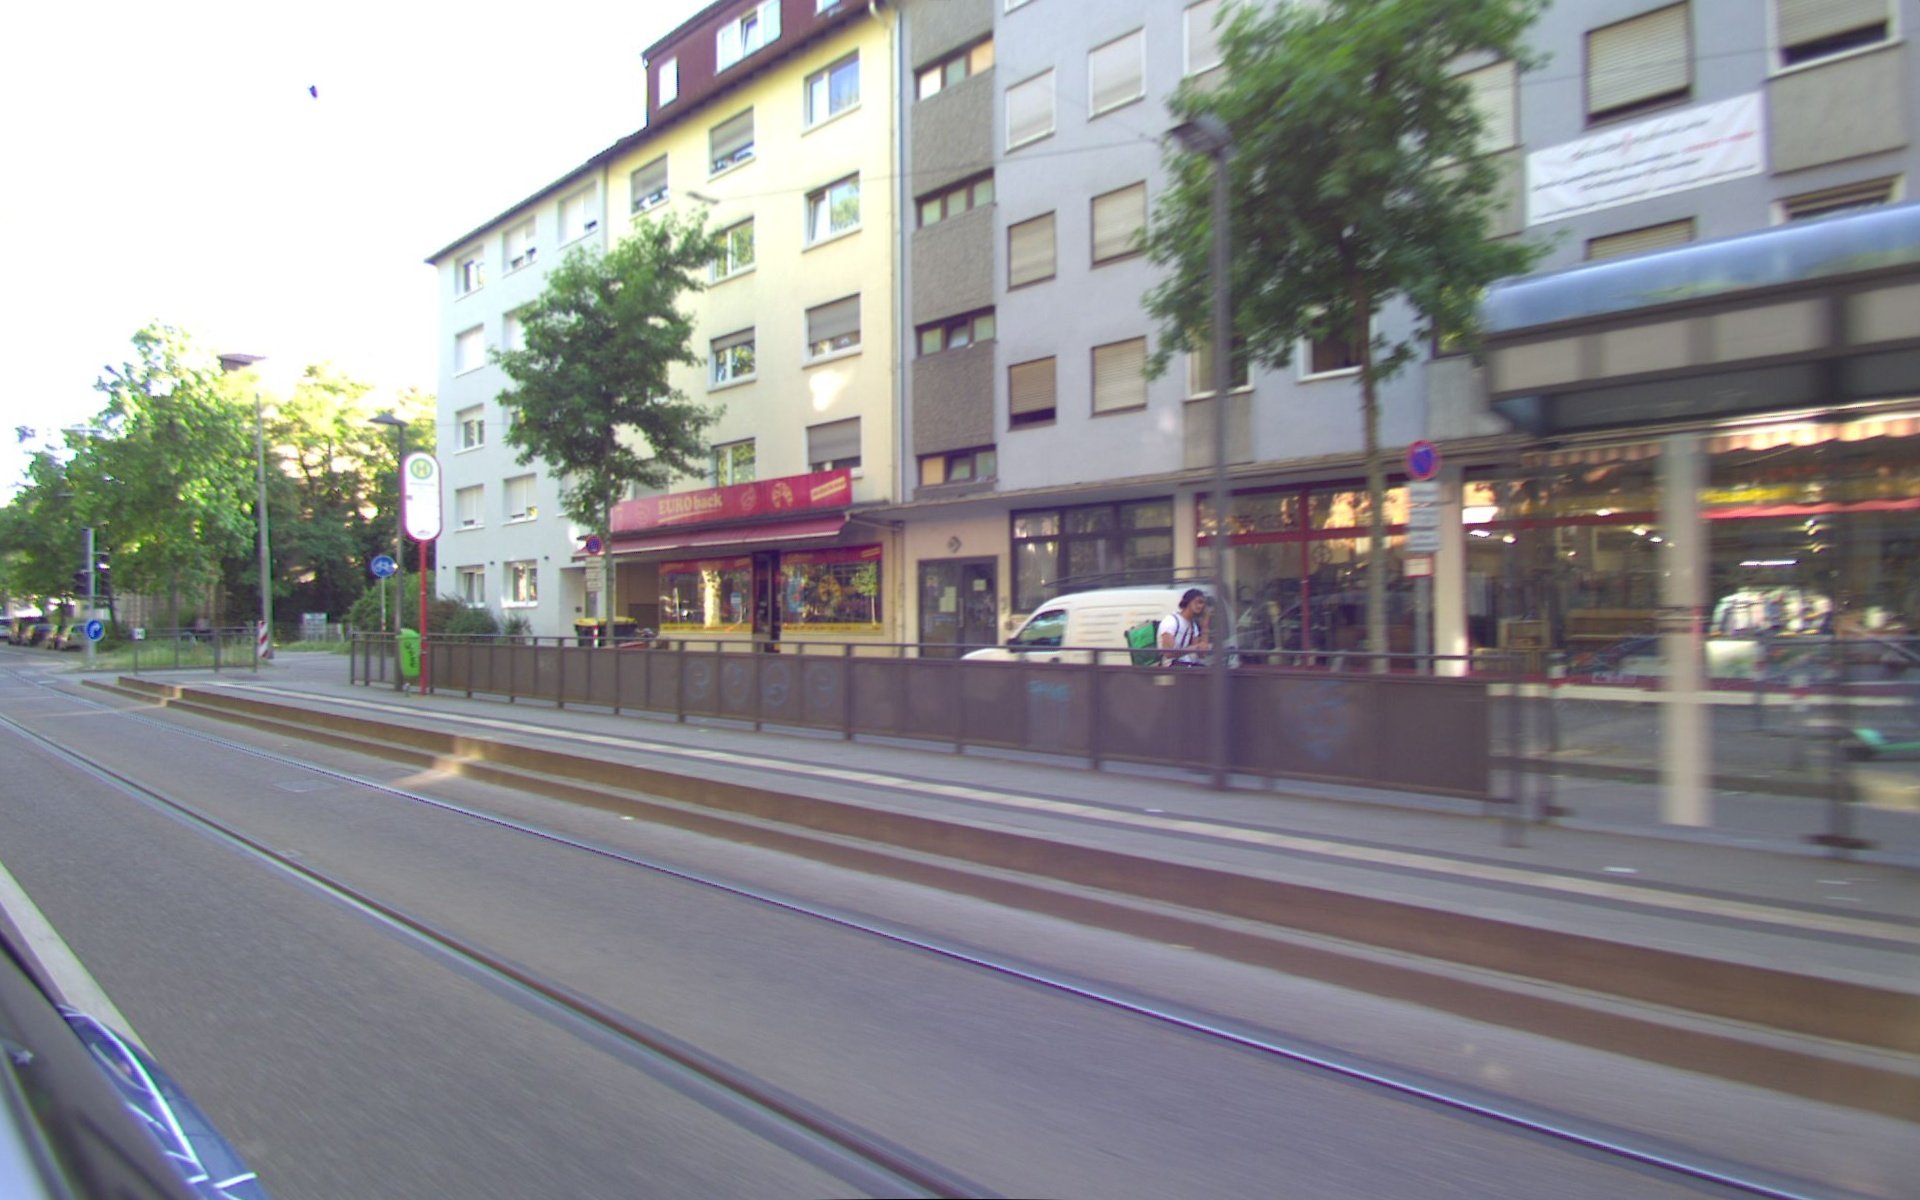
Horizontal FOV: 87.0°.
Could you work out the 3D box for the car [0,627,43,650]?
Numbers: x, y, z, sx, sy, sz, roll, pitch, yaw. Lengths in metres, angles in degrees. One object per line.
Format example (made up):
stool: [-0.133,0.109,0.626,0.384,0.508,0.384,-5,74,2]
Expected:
car: [-63.450,2.568,68.357,3.678,1.541,1.971,-2,-2,44]

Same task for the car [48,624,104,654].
car: [-47.993,2.103,54.908,3.678,1.541,1.971,-2,-2,44]

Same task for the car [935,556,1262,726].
car: [1.762,0.525,13.605,4.046,1.949,1.785,-1,-2,40]

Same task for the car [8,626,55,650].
car: [-59.823,2.423,65.182,3.678,1.541,1.971,-2,-2,44]

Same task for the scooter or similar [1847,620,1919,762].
scooter or similar: [8.444,0.761,8.638,1.259,1.183,0.445,0,-2,5]

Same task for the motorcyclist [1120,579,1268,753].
motorcyclist: [2.109,0.565,9.120,1.015,1.451,0.864,-2,-2,40]

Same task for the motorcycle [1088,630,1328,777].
motorcycle: [2.181,0.857,9.066,1.913,1.173,0.840,-1,-2,41]

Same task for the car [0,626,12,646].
car: [-74.297,2.761,77.703,3.678,1.541,1.971,-2,-2,44]
